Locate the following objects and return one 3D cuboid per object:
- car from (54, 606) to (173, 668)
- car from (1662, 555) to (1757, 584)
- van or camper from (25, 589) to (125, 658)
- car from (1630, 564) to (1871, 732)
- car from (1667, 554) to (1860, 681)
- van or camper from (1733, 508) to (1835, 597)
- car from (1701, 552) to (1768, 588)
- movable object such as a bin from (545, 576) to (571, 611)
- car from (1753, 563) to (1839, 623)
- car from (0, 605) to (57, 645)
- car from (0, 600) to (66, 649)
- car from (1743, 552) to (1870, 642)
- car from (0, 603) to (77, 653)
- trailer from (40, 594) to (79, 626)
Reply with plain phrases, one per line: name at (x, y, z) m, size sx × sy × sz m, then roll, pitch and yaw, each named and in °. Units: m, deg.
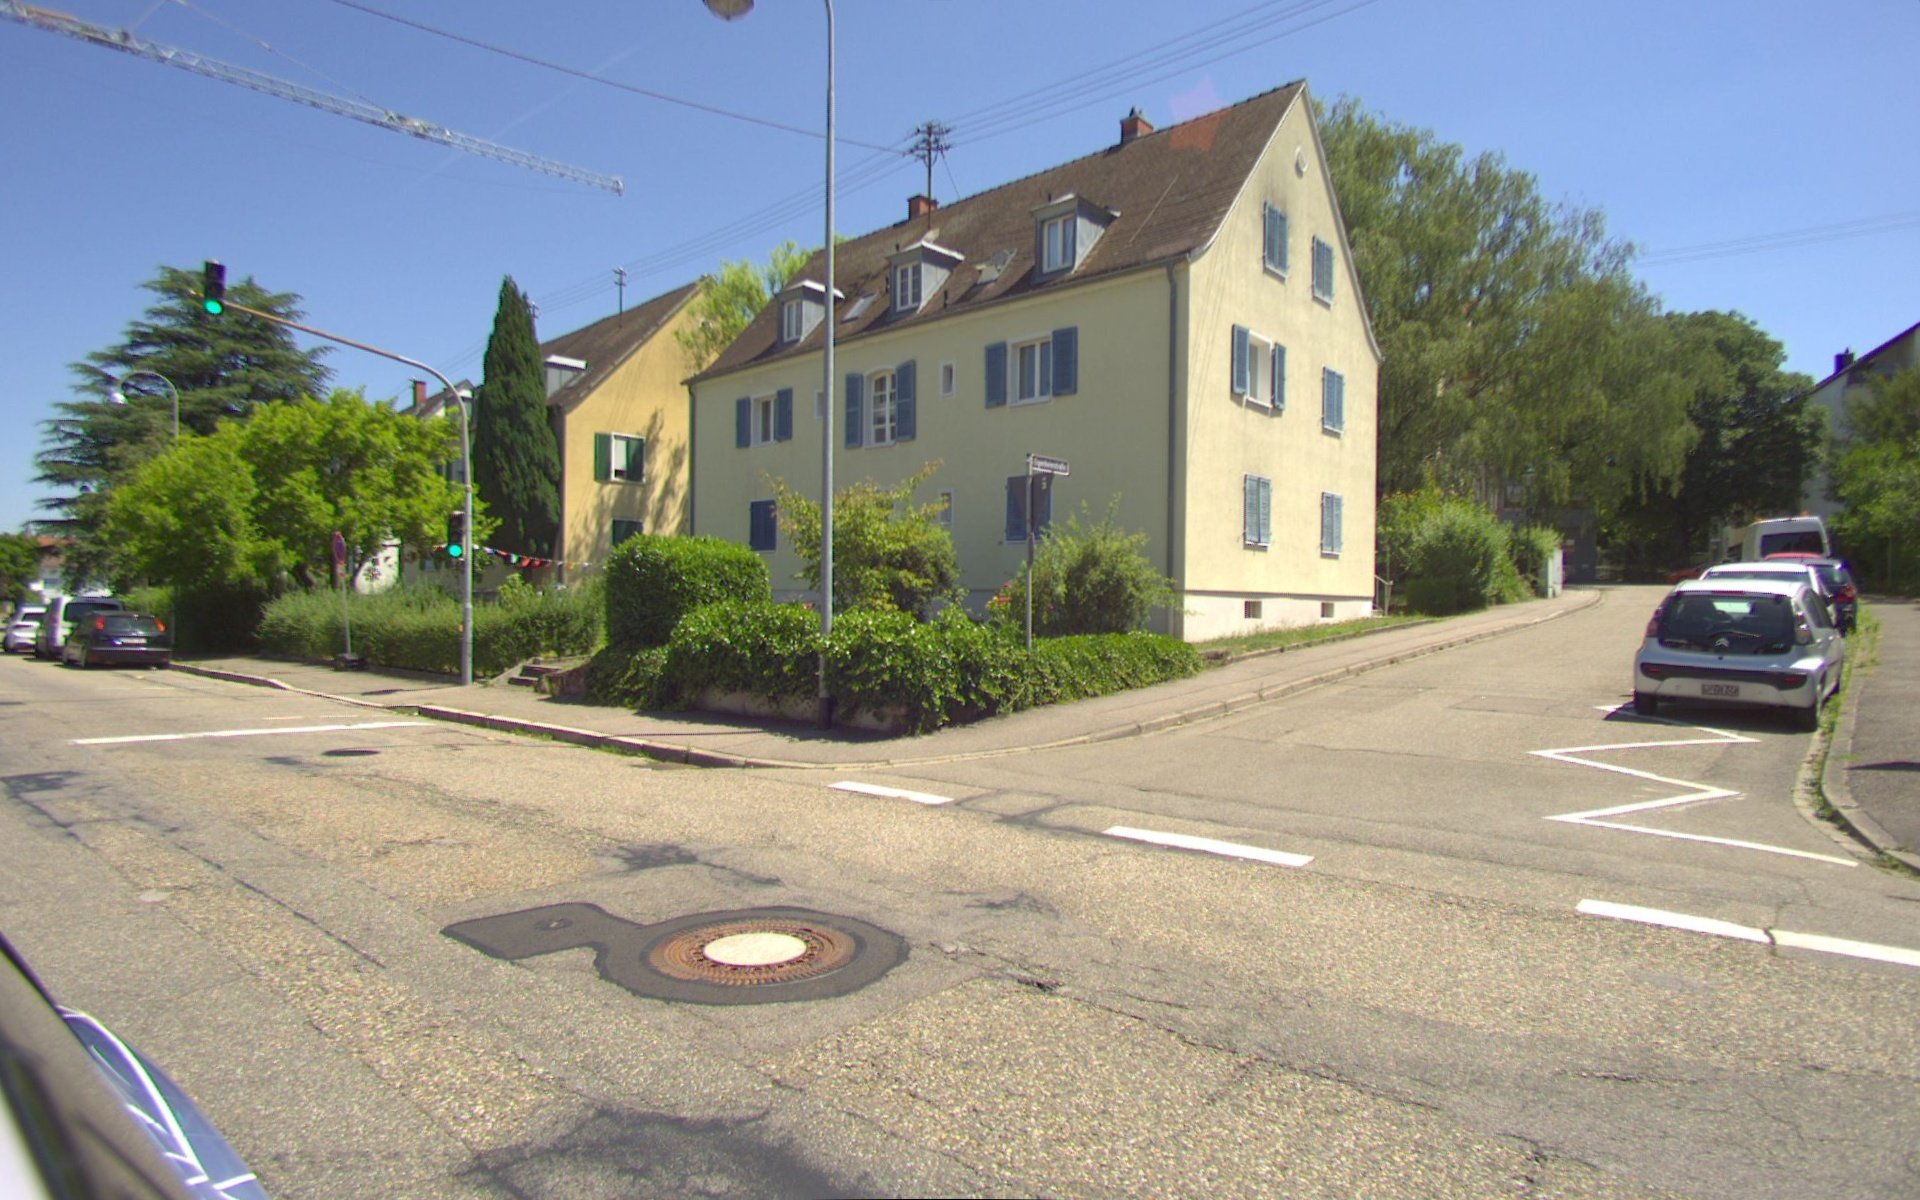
car at (-21.286, 0.911, 25.390) m, size 3.925 × 1.423 × 1.663 m, roll 0°, pitch -2°, yaw 41°
car at (41.623, -1.659, 56.342) m, size 3.982 × 1.487 × 1.981 m, roll -1°, pitch 1°, yaw 29°
van or camper at (-25.034, 0.666, 28.588) m, size 3.985 × 1.818 × 1.662 m, roll 0°, pitch -3°, yaw 43°
car at (8.892, 0.404, 11.315) m, size 3.166 × 1.467 × 1.736 m, roll -5°, pitch 4°, yaw -44°
car at (11.498, 0.145, 14.415) m, size 3.540 × 1.467 × 1.750 m, roll -5°, pitch 4°, yaw -45°
van or camper at (27.397, -1.499, 33.820) m, size 1.994 × 2.731 × 5.312 m, roll 0°, pitch 1°, yaw 32°
car at (33.469, -1.274, 43.833) m, size 1.726 × 1.467 × 3.183 m, roll -1°, pitch 1°, yaw 27°
movable object such as a bin at (-14.027, -0.222, 35.337) m, size 0.674 × 1.205 × 0.614 m, roll 0°, pitch -1°, yaw 43°
car at (23.221, -0.244, 28.093) m, size 1.748 × 1.467 × 3.544 m, roll 1°, pitch 3°, yaw 41°
car at (-37.608, 0.976, 40.687) m, size 4.333 × 1.487 × 1.662 m, roll 0°, pitch -3°, yaw 45°
car at (-33.895, 0.873, 36.844) m, size 4.333 × 1.649 × 1.662 m, roll 0°, pitch -3°, yaw 45°
car at (16.151, -0.123, 19.279) m, size 1.735 × 1.467 × 3.169 m, roll 1°, pitch 4°, yaw 42°
car at (-29.068, 0.857, 31.798) m, size 4.249 × 1.452 × 1.662 m, roll 0°, pitch -3°, yaw 45°
trailer at (-61.861, 0.693, 69.586) m, size 1.791 × 2.049 × 4.007 m, roll 4°, pitch -3°, yaw -40°
